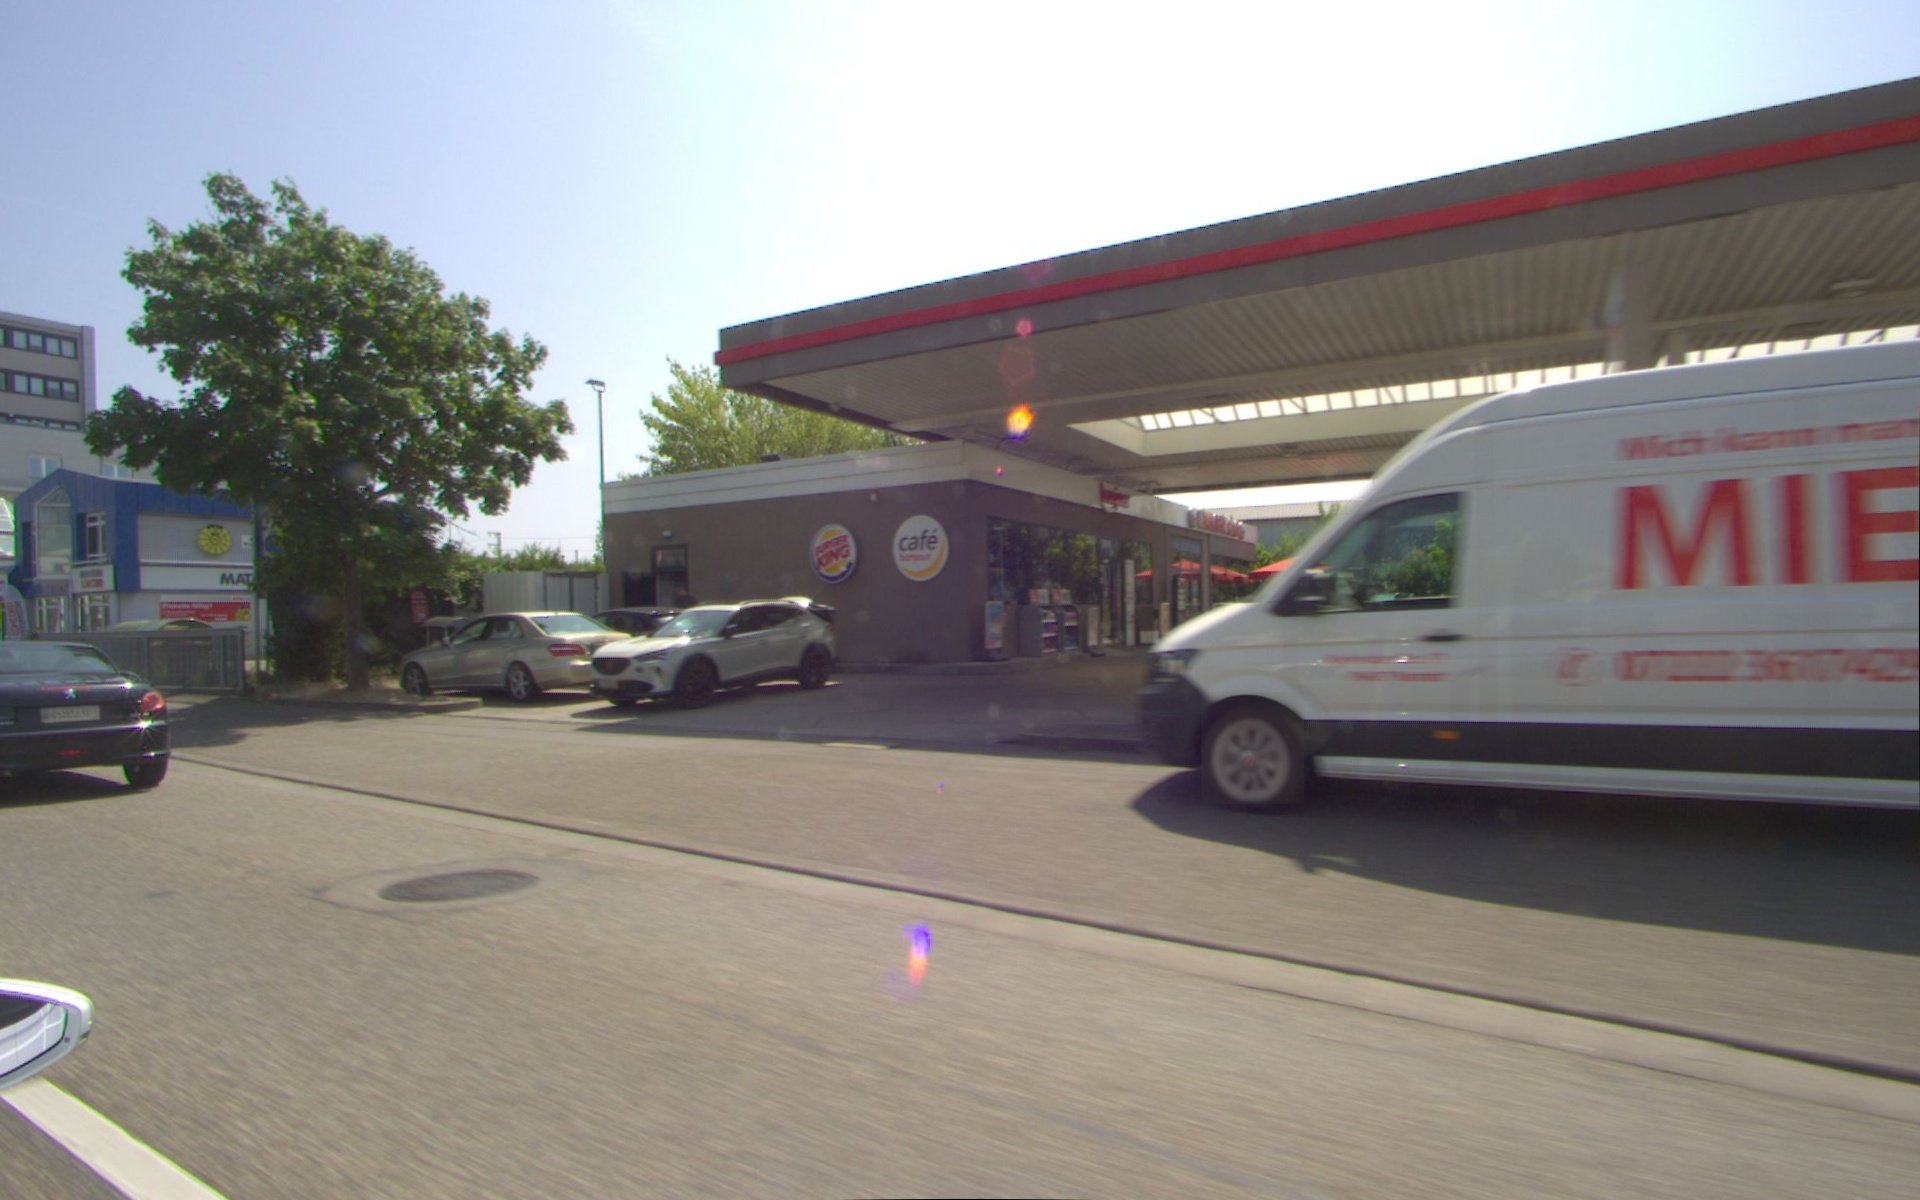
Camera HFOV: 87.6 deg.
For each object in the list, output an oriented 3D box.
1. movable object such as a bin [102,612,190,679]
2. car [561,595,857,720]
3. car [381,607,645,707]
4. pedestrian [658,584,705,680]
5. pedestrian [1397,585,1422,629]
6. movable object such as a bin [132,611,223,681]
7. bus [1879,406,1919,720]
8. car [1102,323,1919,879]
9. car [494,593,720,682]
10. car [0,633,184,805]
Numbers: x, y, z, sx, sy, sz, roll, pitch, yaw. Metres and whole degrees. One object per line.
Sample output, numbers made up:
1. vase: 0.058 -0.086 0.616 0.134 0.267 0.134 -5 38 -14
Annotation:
1. movable object such as a bin: -18.889 1.030 23.237 1.467 1.490 1.129 -1 1 30
2. car: -3.843 0.793 16.191 1.879 1.548 4.611 -1 2 32
3. car: -7.881 0.942 17.571 4.566 1.486 1.790 -1 2 29
4. pedestrian: -6.083 0.705 21.846 0.696 2.039 0.814 1 -1 -40
5. pedestrian: 21.446 0.317 47.733 0.945 2.057 0.947 0 1 33
6. movable object such as a bin: -17.530 1.004 22.427 1.467 1.490 1.129 -1 1 30
7. bus: 13.667 -0.436 7.990 8.949 3.194 2.743 -1 0 32
8. car: 4.690 -0.011 6.391 7.167 2.812 2.173 -1 2 29
9. car: -7.049 0.709 19.958 4.187 1.557 1.898 -1 2 29
10. car: -9.123 1.027 9.612 3.555 1.381 1.623 -1 -1 34
